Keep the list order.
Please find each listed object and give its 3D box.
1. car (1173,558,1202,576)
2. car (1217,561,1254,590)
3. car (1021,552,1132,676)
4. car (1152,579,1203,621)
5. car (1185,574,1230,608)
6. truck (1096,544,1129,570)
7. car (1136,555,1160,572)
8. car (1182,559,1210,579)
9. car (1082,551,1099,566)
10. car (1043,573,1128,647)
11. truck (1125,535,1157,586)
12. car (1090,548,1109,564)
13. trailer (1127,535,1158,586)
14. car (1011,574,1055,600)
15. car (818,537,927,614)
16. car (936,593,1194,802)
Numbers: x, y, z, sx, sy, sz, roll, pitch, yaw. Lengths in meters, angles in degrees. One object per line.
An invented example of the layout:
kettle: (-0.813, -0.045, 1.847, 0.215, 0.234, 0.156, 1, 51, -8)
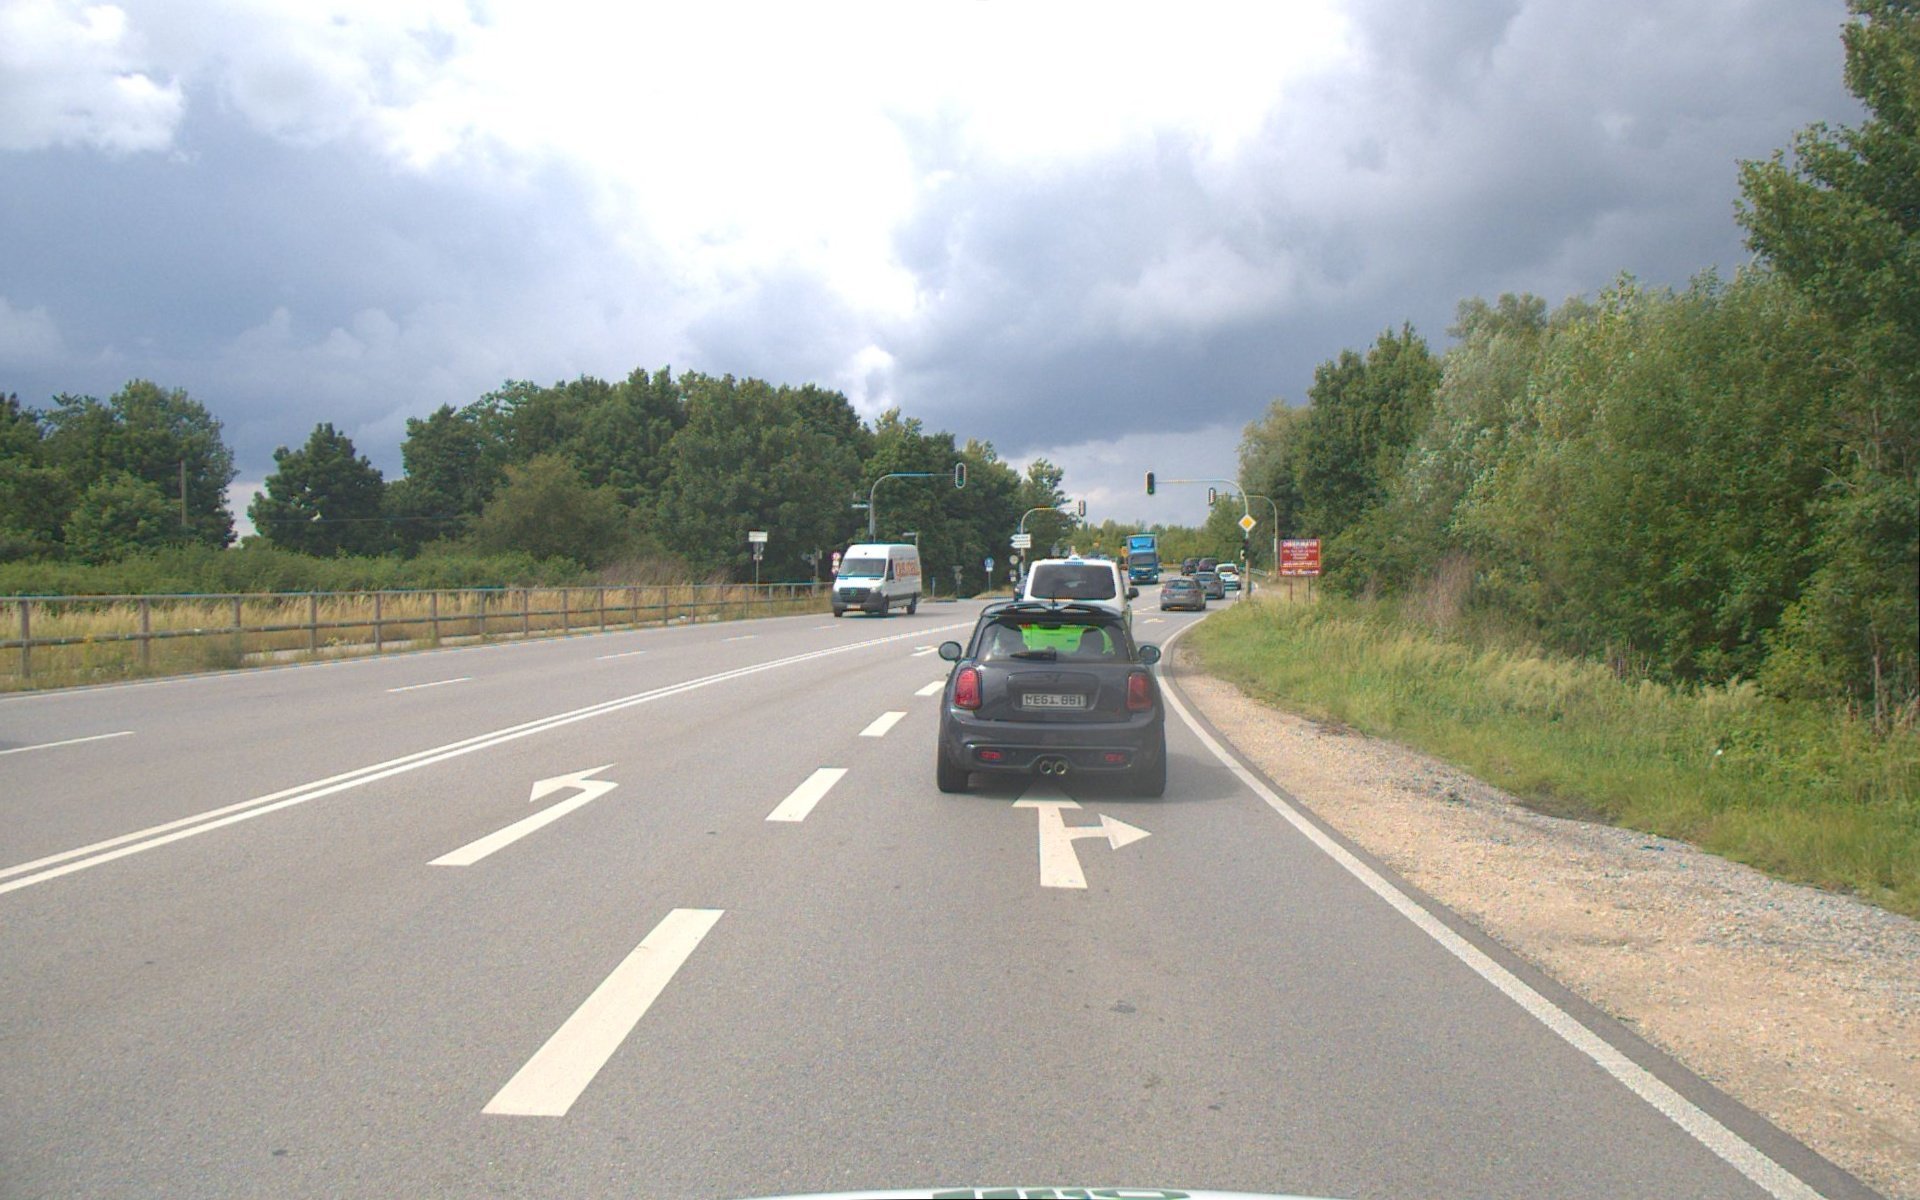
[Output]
car: (22.276, -3.220, 162.278, 1.954, 1.725, 4.482, 0, 1, -4)
car: (17.939, -1.564, 107.669, 1.951, 1.713, 4.003, 1, -1, 15)
car: (2.073, 0.205, 29.246, 1.806, 2.021, 3.843, 1, 1, 4)
car: (9.638, 0.018, 73.171, 1.951, 1.713, 4.003, 1, -1, 11)
car: (13.630, -0.464, 90.999, 1.951, 1.713, 3.980, 1, -1, 15)
truck: (19.176, -5.403, 208.777, 2.664, 2.948, 8.762, 1, 0, -5)
car: (20.824, -4.047, 183.329, 1.954, 1.818, 4.482, 0, 1, -4)
car: (20.715, -2.694, 145.440, 1.952, 1.725, 4.487, 0, 1, 1)
car: (19.947, -6.318, 253.121, 1.955, 2.049, 3.994, 1, -1, -6)
car: (3.081, 0.235, 40.099, 1.951, 1.713, 4.003, 0, 0, 6)
truck: (15.064, -3.283, 137.459, 2.485, 4.167, 4.004, 0, 1, 9)
car: (19.723, -6.148, 233.598, 2.137, 2.049, 3.997, 1, -1, -4)
trailer: (15.586, -3.343, 141.059, 2.473, 4.172, 6.741, 0, 1, 8)
car: (4.261, -0.787, 96.206, 1.904, 1.466, 4.004, 0, 1, 13)
car: (-3.198, -0.892, 62.422, 2.381, 2.721, 6.894, 1, 0, 12)
car: (0.769, 0.685, 13.622, 1.807, 1.453, 3.841, 1, 0, 1)
